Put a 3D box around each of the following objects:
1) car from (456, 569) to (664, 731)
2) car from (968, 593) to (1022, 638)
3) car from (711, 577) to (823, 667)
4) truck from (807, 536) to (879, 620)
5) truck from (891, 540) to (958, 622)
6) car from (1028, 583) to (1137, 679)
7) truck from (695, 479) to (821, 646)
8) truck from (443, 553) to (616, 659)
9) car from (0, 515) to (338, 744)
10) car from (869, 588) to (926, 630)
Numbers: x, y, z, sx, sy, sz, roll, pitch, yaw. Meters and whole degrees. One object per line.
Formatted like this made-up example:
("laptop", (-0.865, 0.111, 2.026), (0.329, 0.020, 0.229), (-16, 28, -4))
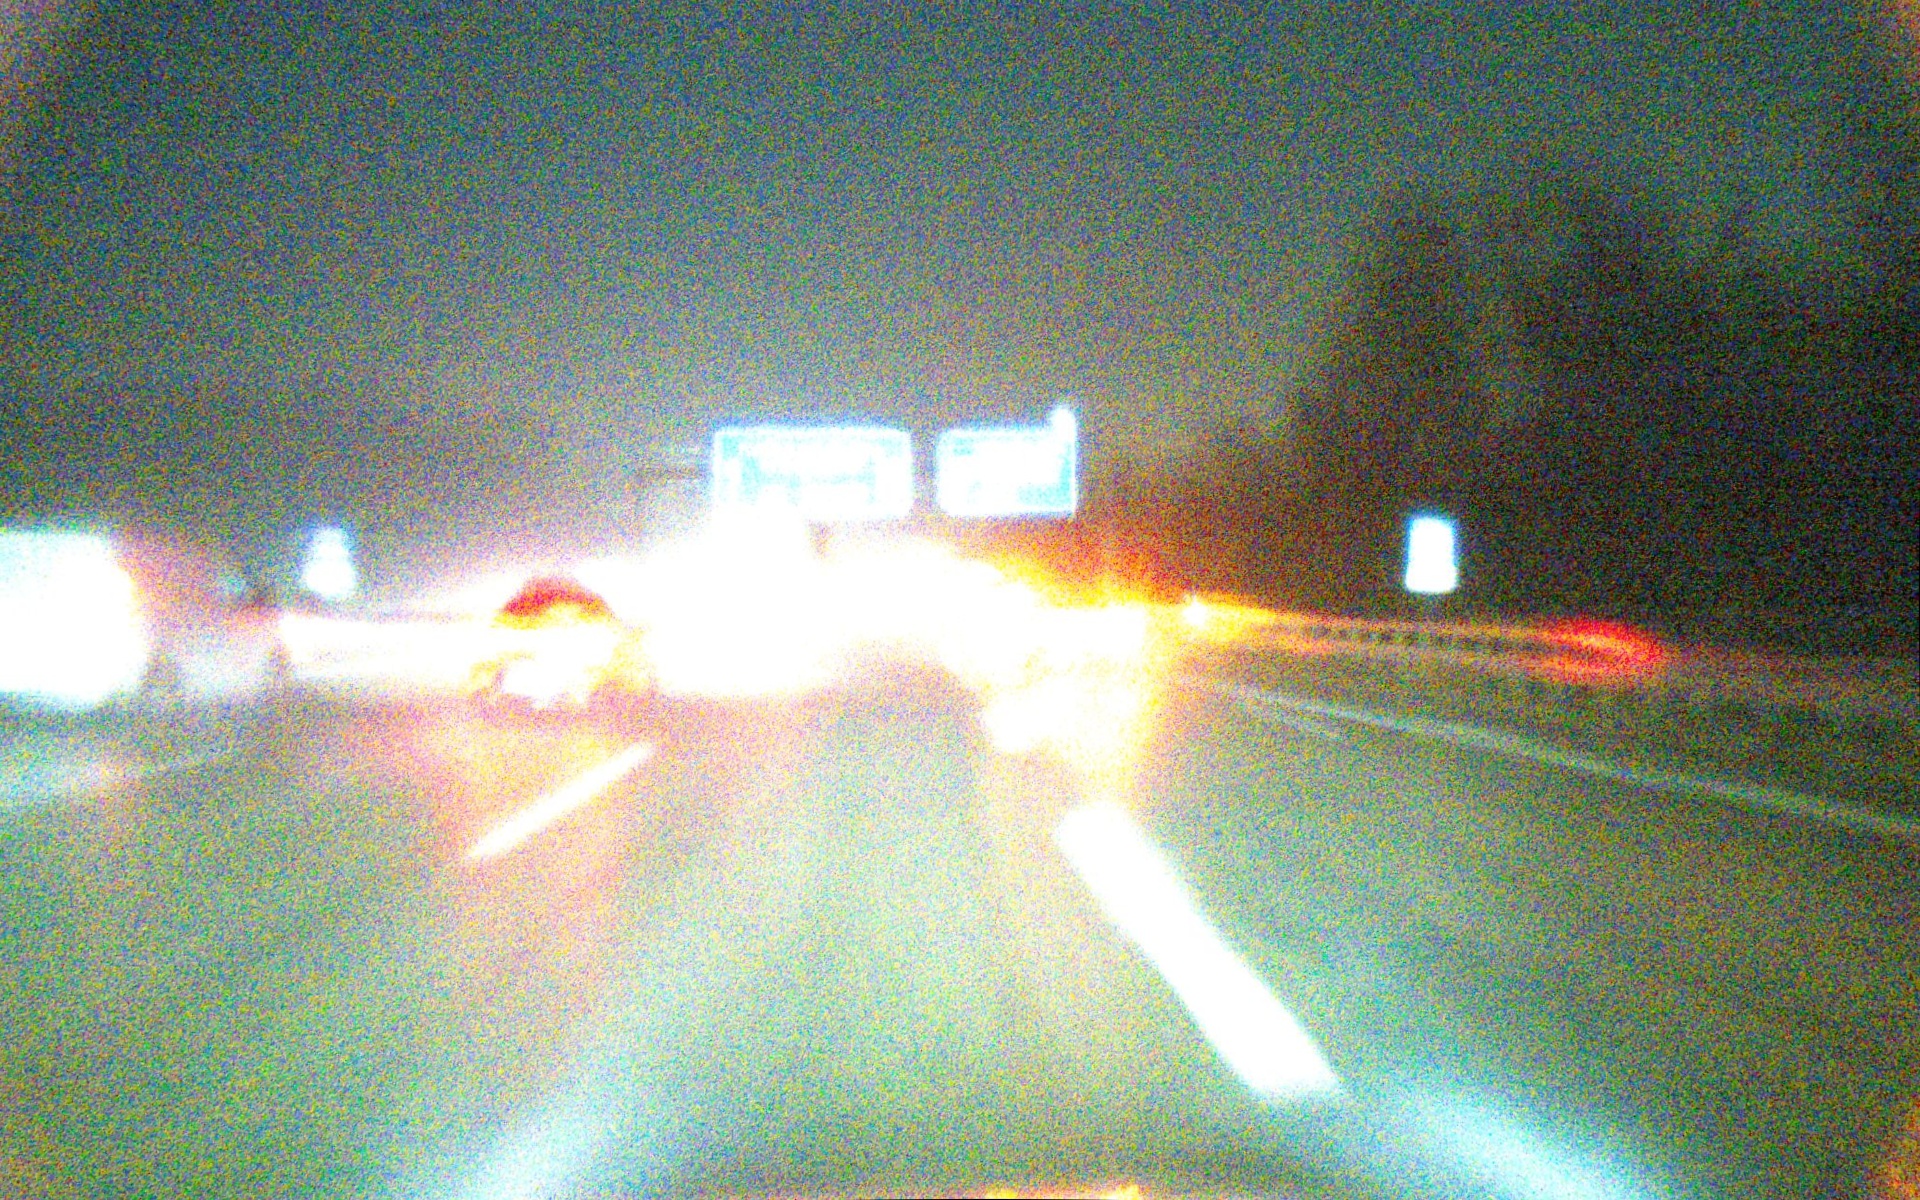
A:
("car", (-4.643, 0.508, 19.724), (1.731, 1.718, 3.997), (1, 1, -4))
("car", (1.387, 0.626, 67.320), (1.953, 1.733, 4.457), (1, 0, -1))
("car", (-4.123, 0.454, 36.052), (1.997, 1.792, 4.514), (1, 0, -2))
("truck", (-8.109, -1.453, 116.051), (4.167, 5.539, 10.884), (1, 0, 0))
("truck", (-2.529, -1.250, 113.991), (4.079, 5.306, 9.945), (1, 0, -4))
("car", (2.416, 0.582, 33.440), (1.840, 1.793, 3.999), (1, 0, -1))
("truck", (-6.348, -1.091, 53.159), (3.585, 4.820, 9.841), (1, 0, -5))
("truck", (-9.842, 0.132, 38.414), (2.801, 2.239, 5.853), (1, 0, -4))
("car", (-9.021, 0.257, 18.361), (2.079, 2.141, 5.629), (1, 0, 0))
("car", (-3.180, 0.446, 85.751), (2.775, 2.049, 5.509), (1, 0, -1))
